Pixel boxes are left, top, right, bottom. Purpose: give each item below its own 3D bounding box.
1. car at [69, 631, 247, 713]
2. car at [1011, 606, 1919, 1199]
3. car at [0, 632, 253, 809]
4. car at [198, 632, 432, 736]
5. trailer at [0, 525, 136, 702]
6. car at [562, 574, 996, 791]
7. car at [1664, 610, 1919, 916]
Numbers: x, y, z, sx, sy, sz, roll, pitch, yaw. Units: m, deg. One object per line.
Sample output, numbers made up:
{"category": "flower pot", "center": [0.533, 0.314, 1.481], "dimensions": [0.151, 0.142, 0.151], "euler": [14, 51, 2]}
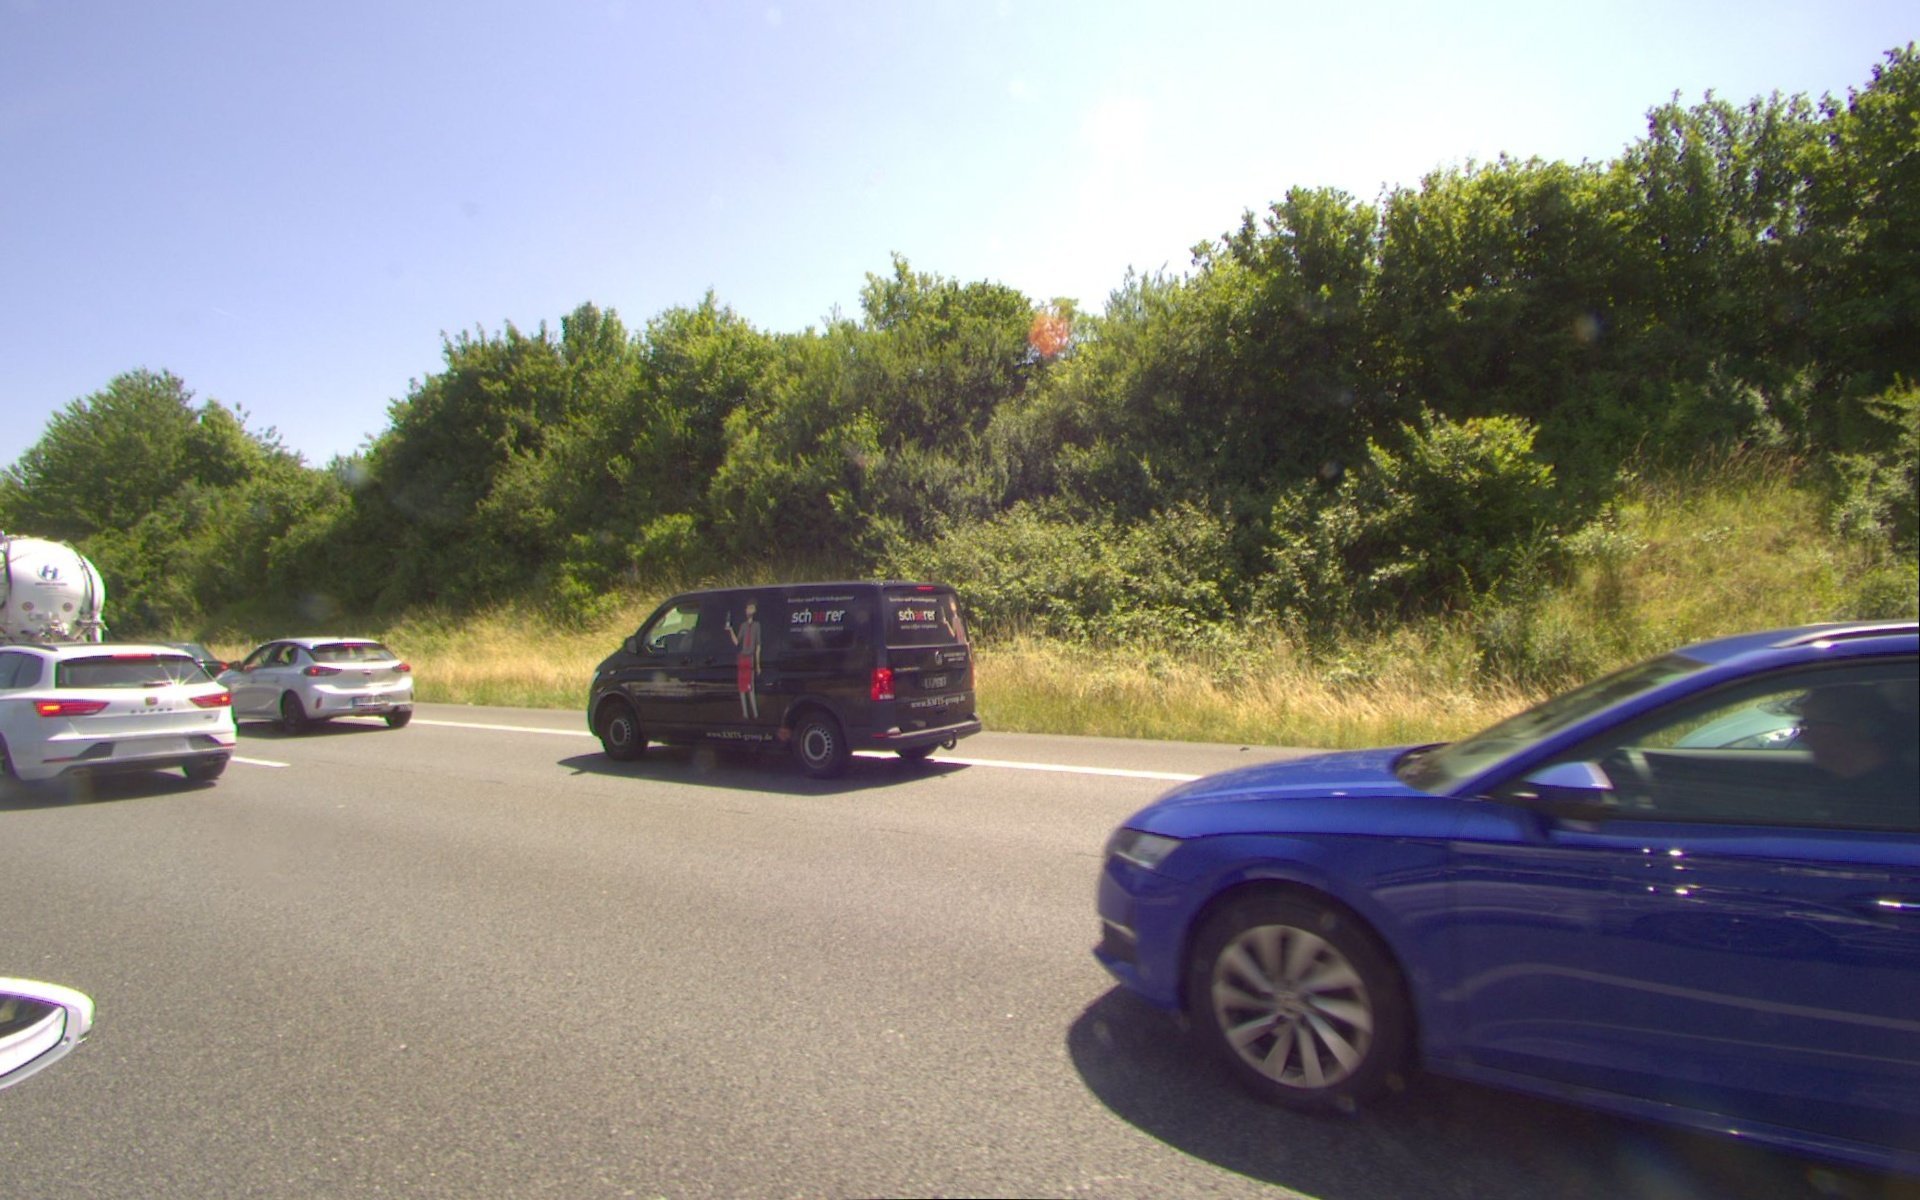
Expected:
{"category": "car", "center": [-16.012, 1.399, 19.957], "dimensions": [3.934, 1.435, 1.637], "euler": [-2, 0, 34]}
{"category": "car", "center": [2.542, 0.758, 2.920], "dimensions": [4.512, 1.435, 1.771], "euler": [-2, -1, 35]}
{"category": "car", "center": [-9.259, 1.118, 10.383], "dimensions": [4.254, 1.461, 1.743], "euler": [-2, -1, 34]}
{"category": "car", "center": [-10.577, 1.280, 16.361], "dimensions": [3.971, 1.462, 1.727], "euler": [-1, 0, 33]}
{"category": "trailer", "center": [-25.239, 0.430, 25.862], "dimensions": [11.324, 3.895, 2.755], "euler": [-1, -1, 33]}
{"category": "car", "center": [-2.148, 0.840, 11.223], "dimensions": [4.790, 1.965, 1.909], "euler": [-2, -1, 34]}
{"category": "car", "center": [6.008, 0.794, 5.096], "dimensions": [3.867, 1.480, 1.658], "euler": [-1, 0, 33]}
